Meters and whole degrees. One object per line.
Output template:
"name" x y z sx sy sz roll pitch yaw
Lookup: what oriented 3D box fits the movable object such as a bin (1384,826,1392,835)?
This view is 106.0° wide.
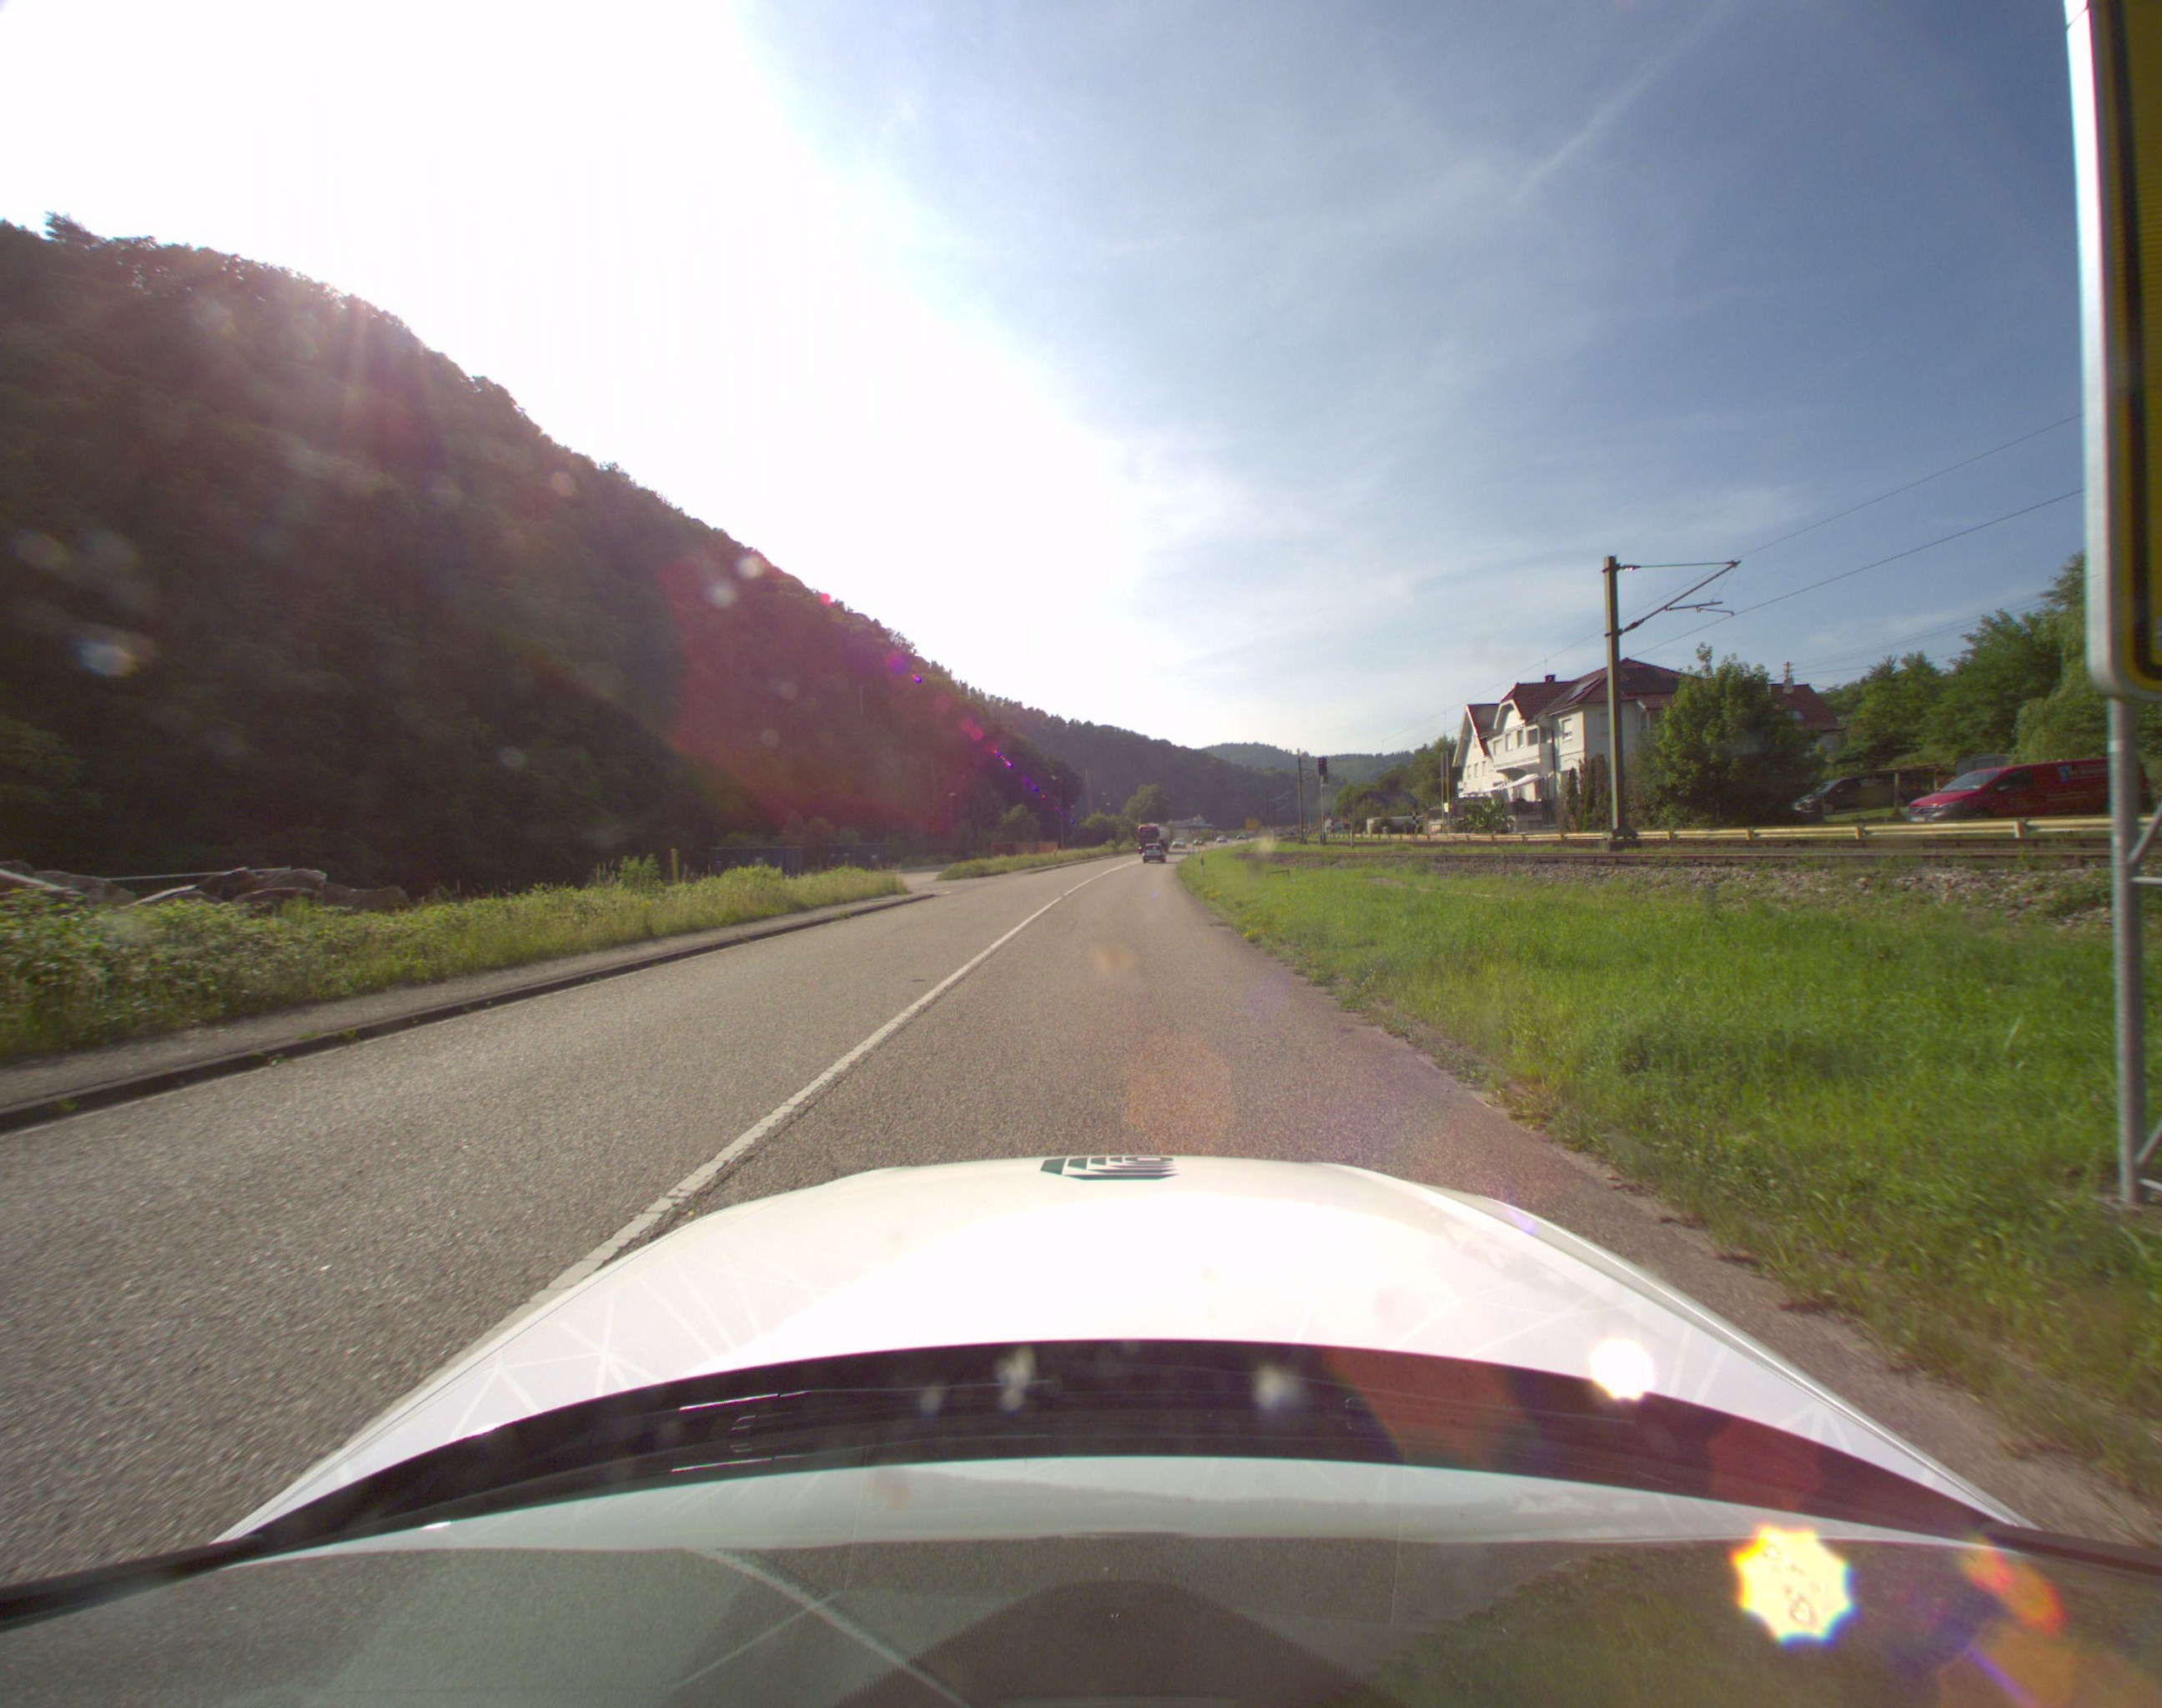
"movable object such as a bin" 35.994 -2.710 95.403 0.802 1.050 0.915 0 2 13

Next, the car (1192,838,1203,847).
"car" 22.400 -2.142 156.203 1.712 1.624 3.809 0 1 12

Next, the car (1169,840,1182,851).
"car" 15.888 -1.473 136.479 1.982 1.758 4.481 0 1 9

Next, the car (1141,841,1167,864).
"car" 6.336 -0.154 70.501 1.983 1.723 3.998 -4 0 7

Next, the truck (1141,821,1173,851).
"truck" 10.612 -2.501 112.625 2.732 3.835 14.610 -1 1 12

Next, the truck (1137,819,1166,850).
"truck" 9.225 -2.489 106.050 2.732 3.835 8.225 -1 1 12

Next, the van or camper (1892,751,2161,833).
"van or camper" 28.436 -1.796 24.548 5.384 1.929 2.126 -4 0 9

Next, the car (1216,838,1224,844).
"car" 31.050 -2.950 181.608 1.767 1.348 4.525 0 2 11
